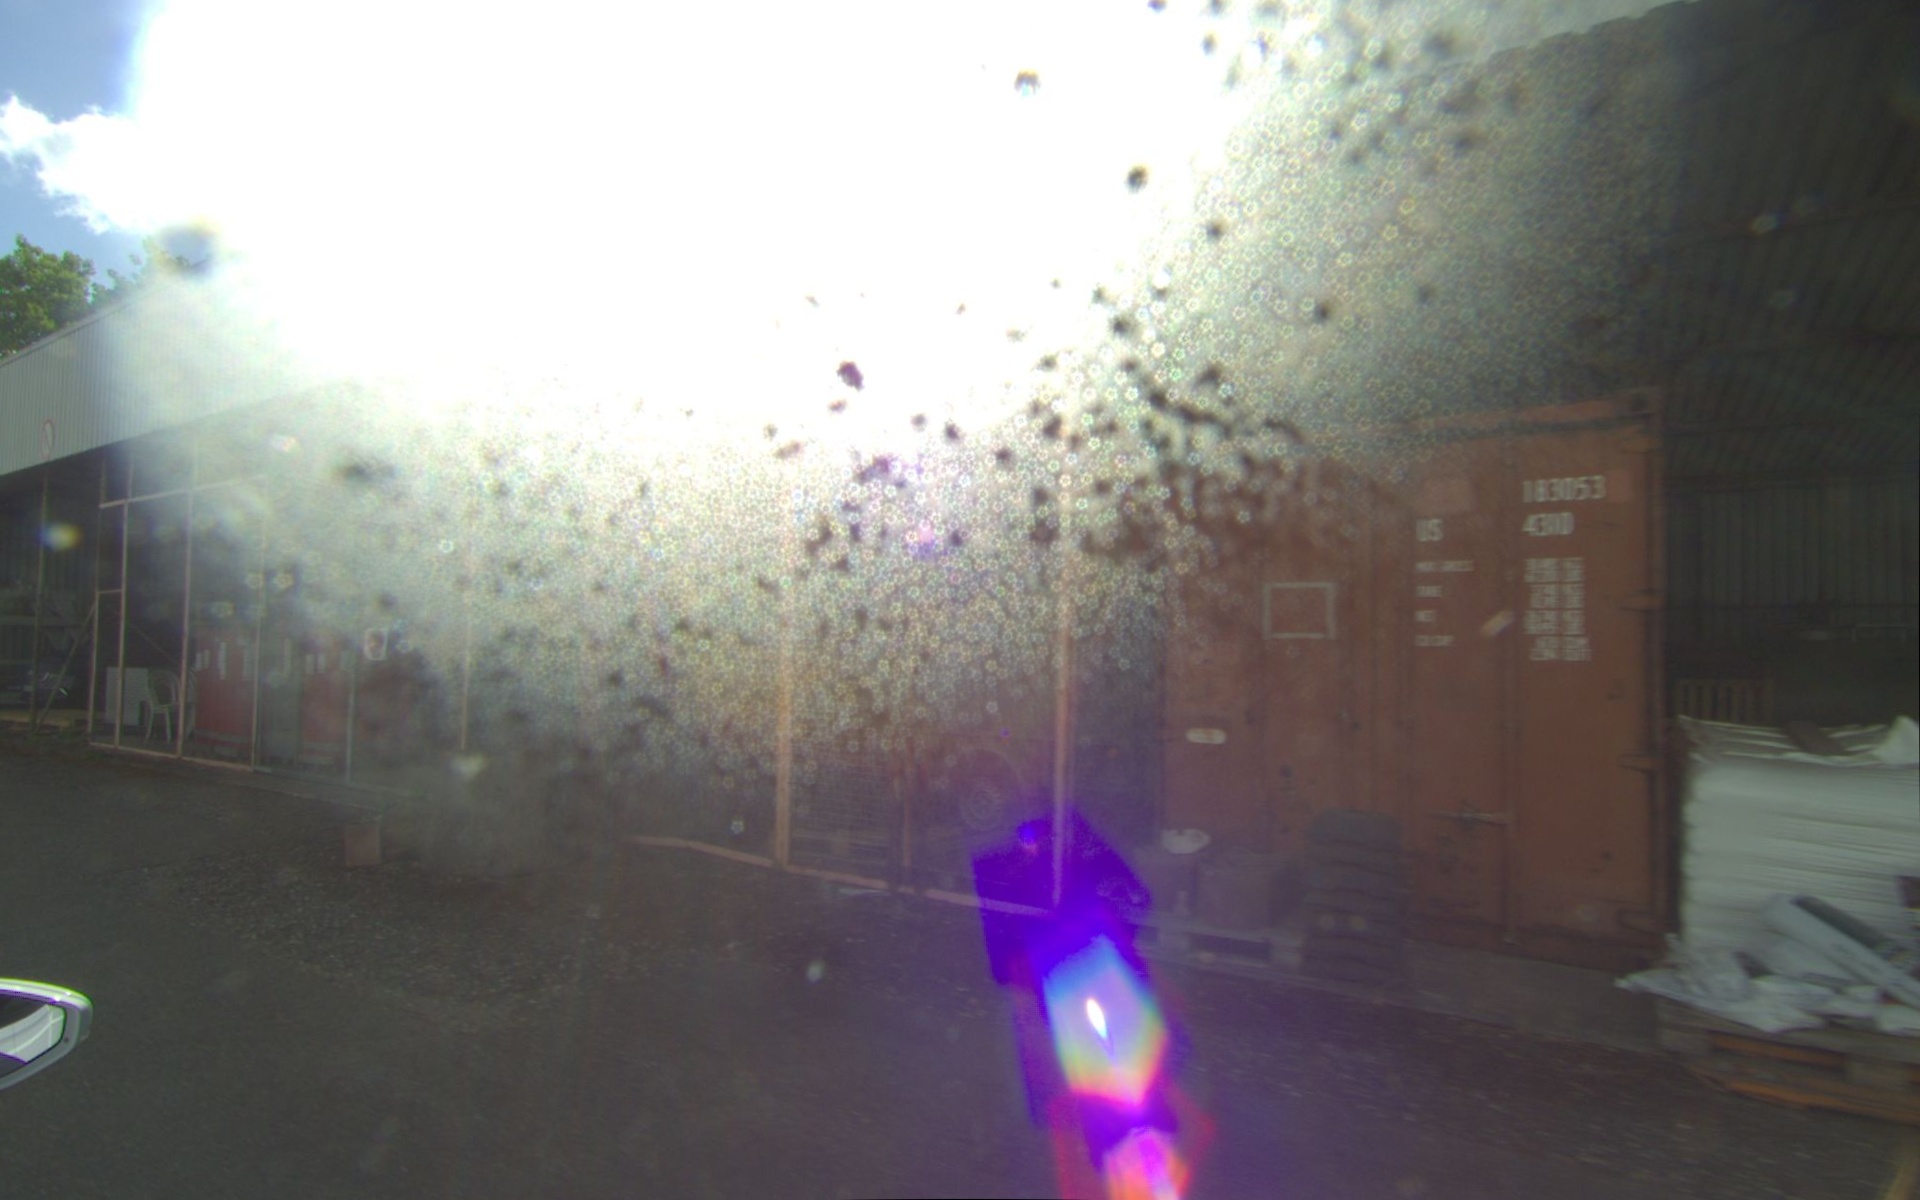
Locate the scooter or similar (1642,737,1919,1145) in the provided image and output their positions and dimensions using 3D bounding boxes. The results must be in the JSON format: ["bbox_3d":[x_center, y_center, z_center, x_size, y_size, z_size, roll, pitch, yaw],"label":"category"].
[{"bbox_3d":[3.123,1.063,3.155,1.570,1.148,0.519,-2,-3,33],"label":"scooter or similar"}]

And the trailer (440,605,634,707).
[{"bbox_3d":[-9.821,1.294,23.432,2.431,2.164,3.397,-1,-3,35],"label":"trailer"}]

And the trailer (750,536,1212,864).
[{"bbox_3d":[0.127,0.719,8.197,3.469,2.170,1.575,-1,-2,30],"label":"trailer"}]

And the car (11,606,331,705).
[{"bbox_3d":[-17.461,1.276,22.531,2.243,1.941,5.167,-1,-4,28],"label":"car"}]
